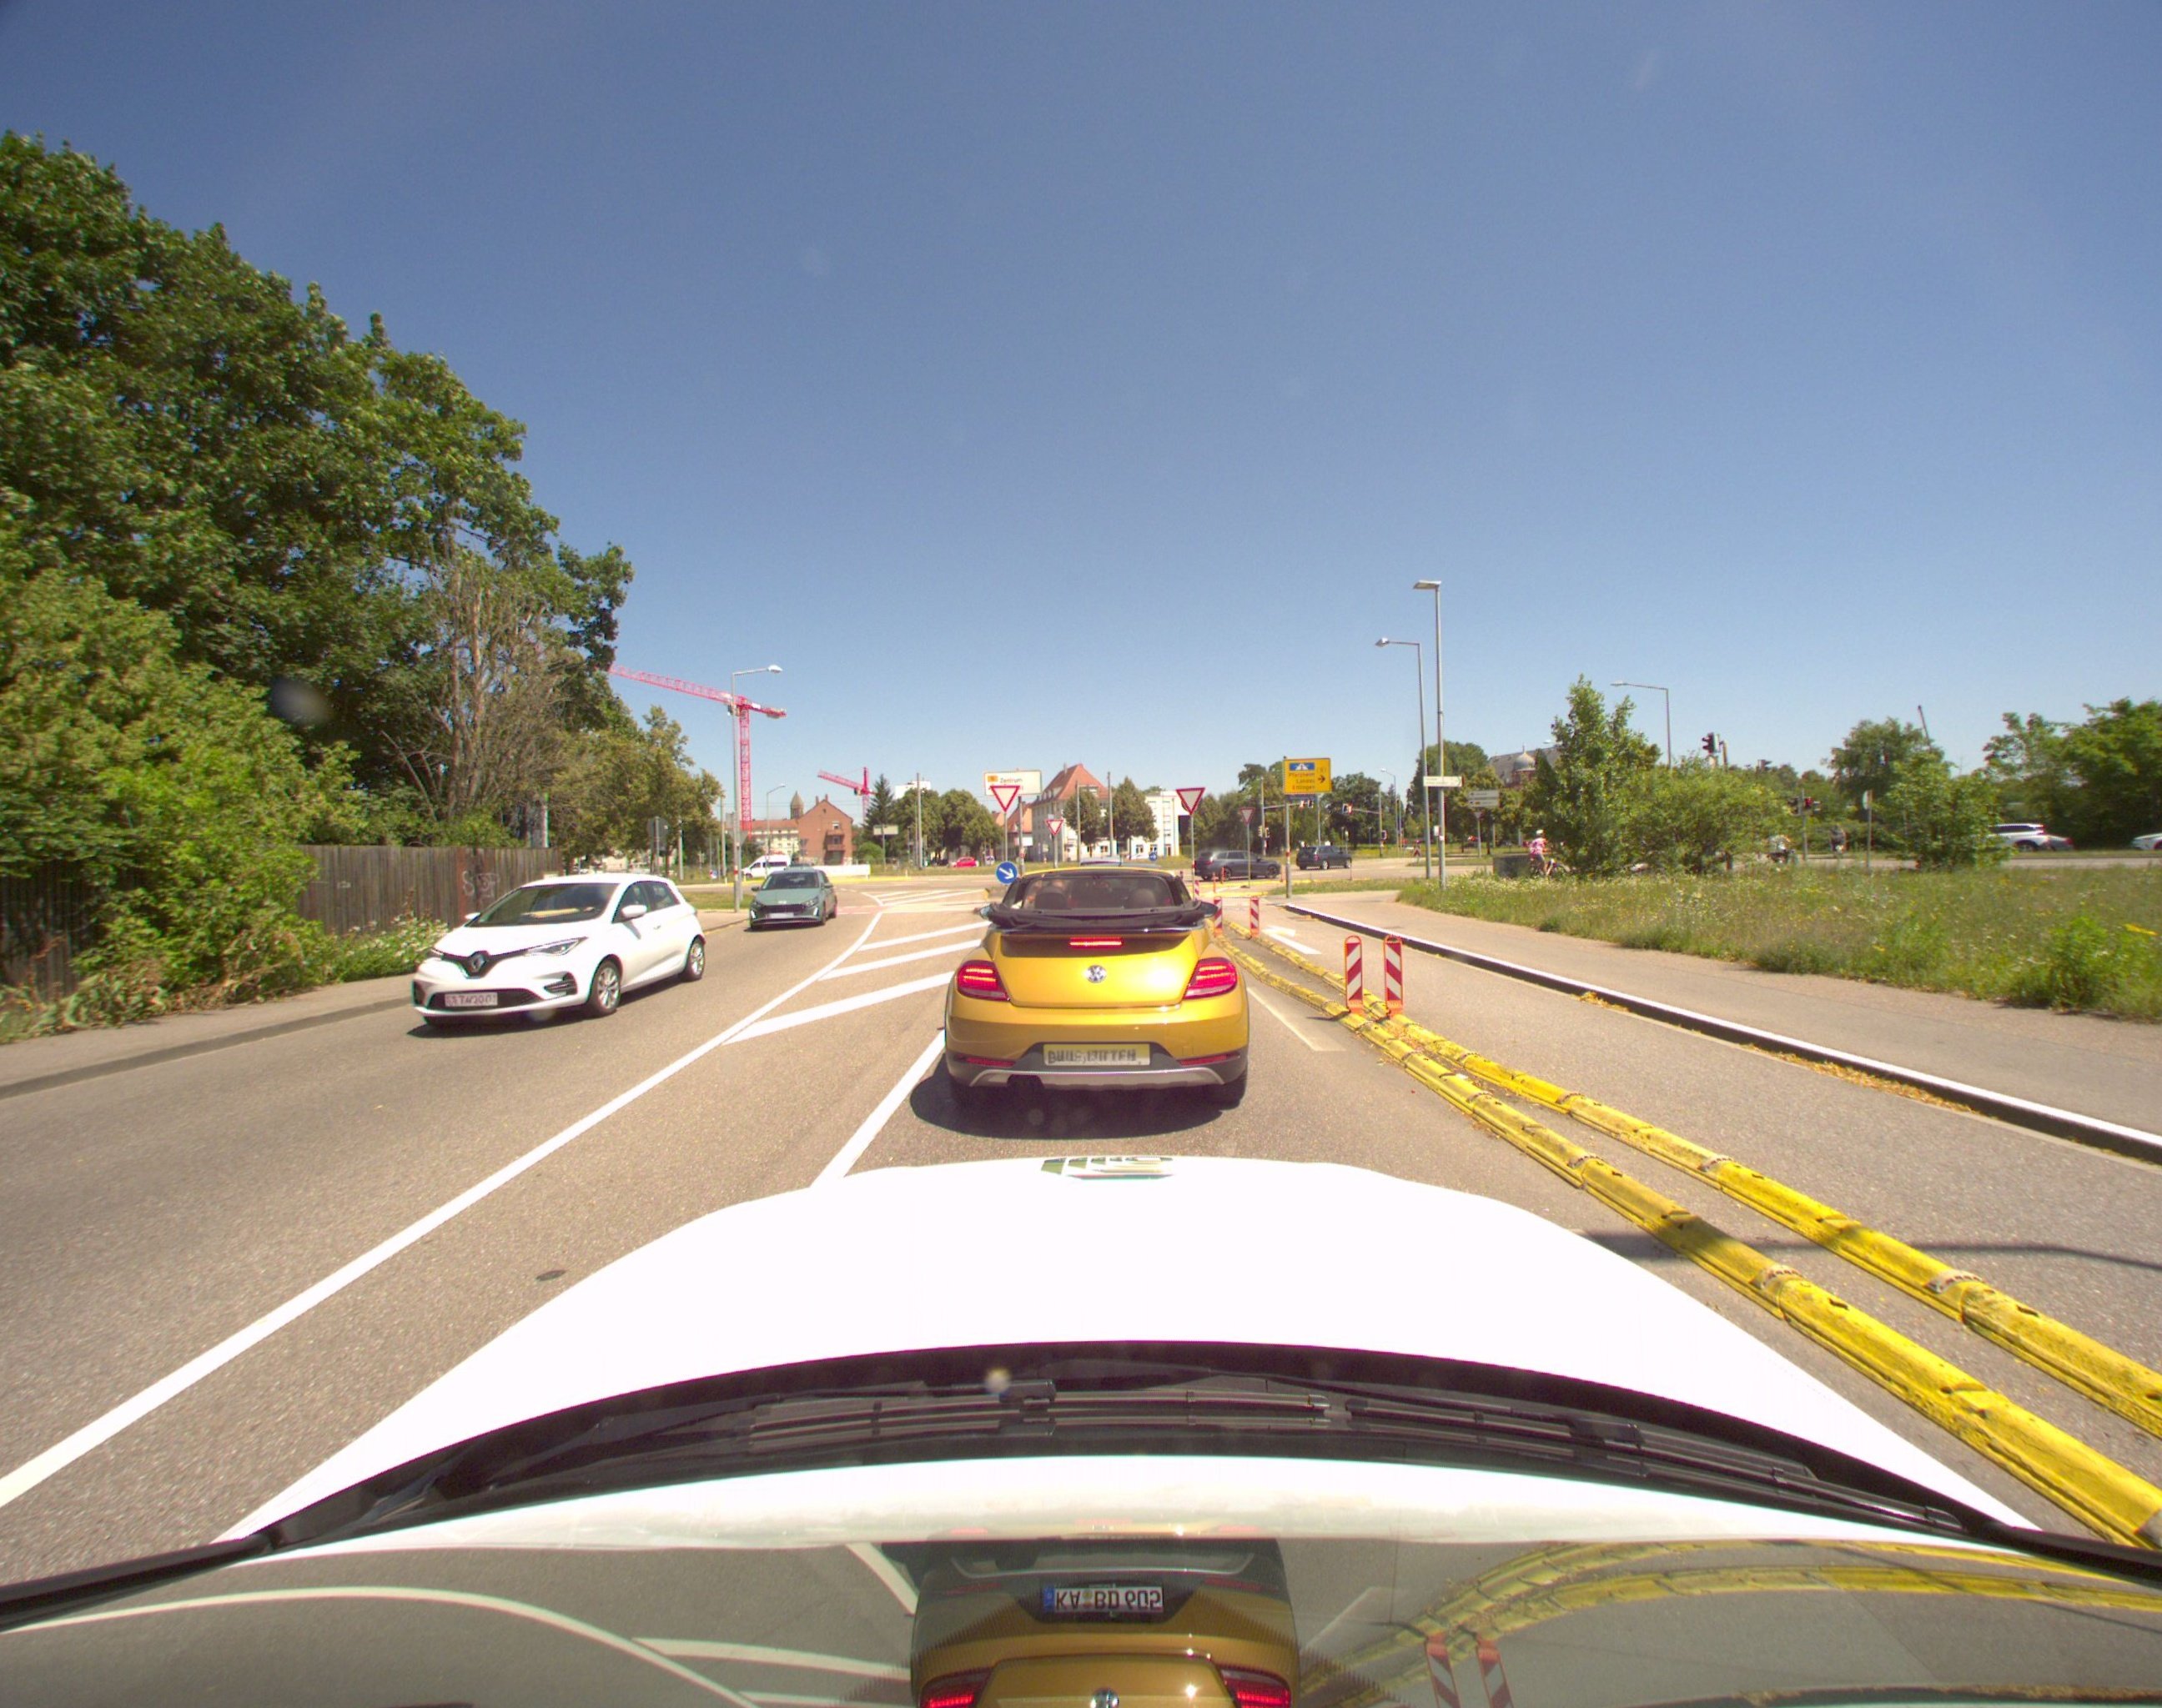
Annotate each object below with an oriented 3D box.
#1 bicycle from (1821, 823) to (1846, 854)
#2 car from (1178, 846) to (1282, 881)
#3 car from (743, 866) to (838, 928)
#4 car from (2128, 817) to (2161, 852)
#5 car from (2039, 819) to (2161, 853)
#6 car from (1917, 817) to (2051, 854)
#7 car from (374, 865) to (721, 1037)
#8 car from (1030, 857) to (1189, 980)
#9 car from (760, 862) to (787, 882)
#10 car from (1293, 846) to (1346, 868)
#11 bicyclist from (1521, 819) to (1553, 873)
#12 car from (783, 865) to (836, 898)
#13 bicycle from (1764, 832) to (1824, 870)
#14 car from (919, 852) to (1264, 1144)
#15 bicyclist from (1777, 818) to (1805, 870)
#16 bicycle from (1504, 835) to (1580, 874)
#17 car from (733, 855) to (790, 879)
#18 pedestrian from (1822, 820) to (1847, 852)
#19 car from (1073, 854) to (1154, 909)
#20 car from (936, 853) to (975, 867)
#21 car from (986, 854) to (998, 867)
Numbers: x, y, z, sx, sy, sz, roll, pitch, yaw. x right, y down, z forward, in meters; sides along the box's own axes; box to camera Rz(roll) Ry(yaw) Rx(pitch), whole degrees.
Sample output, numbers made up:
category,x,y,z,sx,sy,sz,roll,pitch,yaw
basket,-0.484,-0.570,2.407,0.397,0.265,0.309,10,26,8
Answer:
category,x,y,z,sx,sy,sz,roll,pitch,yaw
bicycle,40.412,-0.810,43.735,0.972,1.597,2.900,-1,-1,43
car,7.184,0.442,39.344,4.549,1.481,2.055,-2,0,-24
car,-7.570,1.060,21.591,1.748,1.371,4.313,-2,0,-12
car,51.284,-0.894,36.931,4.389,1.592,1.860,-1,-1,43
car,51.421,-0.857,40.687,4.389,1.592,1.860,-1,-1,43
car,45.881,-0.873,41.535,4.389,1.736,1.860,-1,-1,43
car,-5.991,0.959,9.802,1.772,1.527,3.867,-2,0,-4
car,0.402,0.781,11.795,1.844,1.366,4.260,-2,0,2
car,-26.850,1.572,71.189,1.752,1.706,3.981,0,-1,-14
car,14.111,0.174,48.146,3.233,1.259,1.422,0,-1,-39
bicyclist,15.027,-0.267,26.857,0.667,1.752,0.593,-3,1,3
car,-12.571,1.209,37.566,1.736,1.402,4.234,0,-1,-26
bicycle,25.894,-0.107,29.562,2.902,1.353,0.635,0,-1,-28
car,0.117,0.755,6.298,1.758,1.481,4.259,0,-1,2
bicyclist,25.806,-0.360,29.598,0.573,1.841,0.603,0,-1,-29
bicycle,15.202,0.016,26.874,2.082,1.221,0.634,-2,0,4
car,-32.847,1.283,83.815,5.333,2.397,1.979,0,-1,-23
pedestrian,40.337,-0.939,43.606,0.959,1.660,0.892,-1,-1,44
car,0.823,0.723,22.867,2.058,1.382,4.257,0,0,0
car,-15.296,0.722,99.084,4.359,1.654,1.883,0,-1,-30
car,-15.034,1.134,138.035,1.985,2.070,5.317,0,-1,-6
